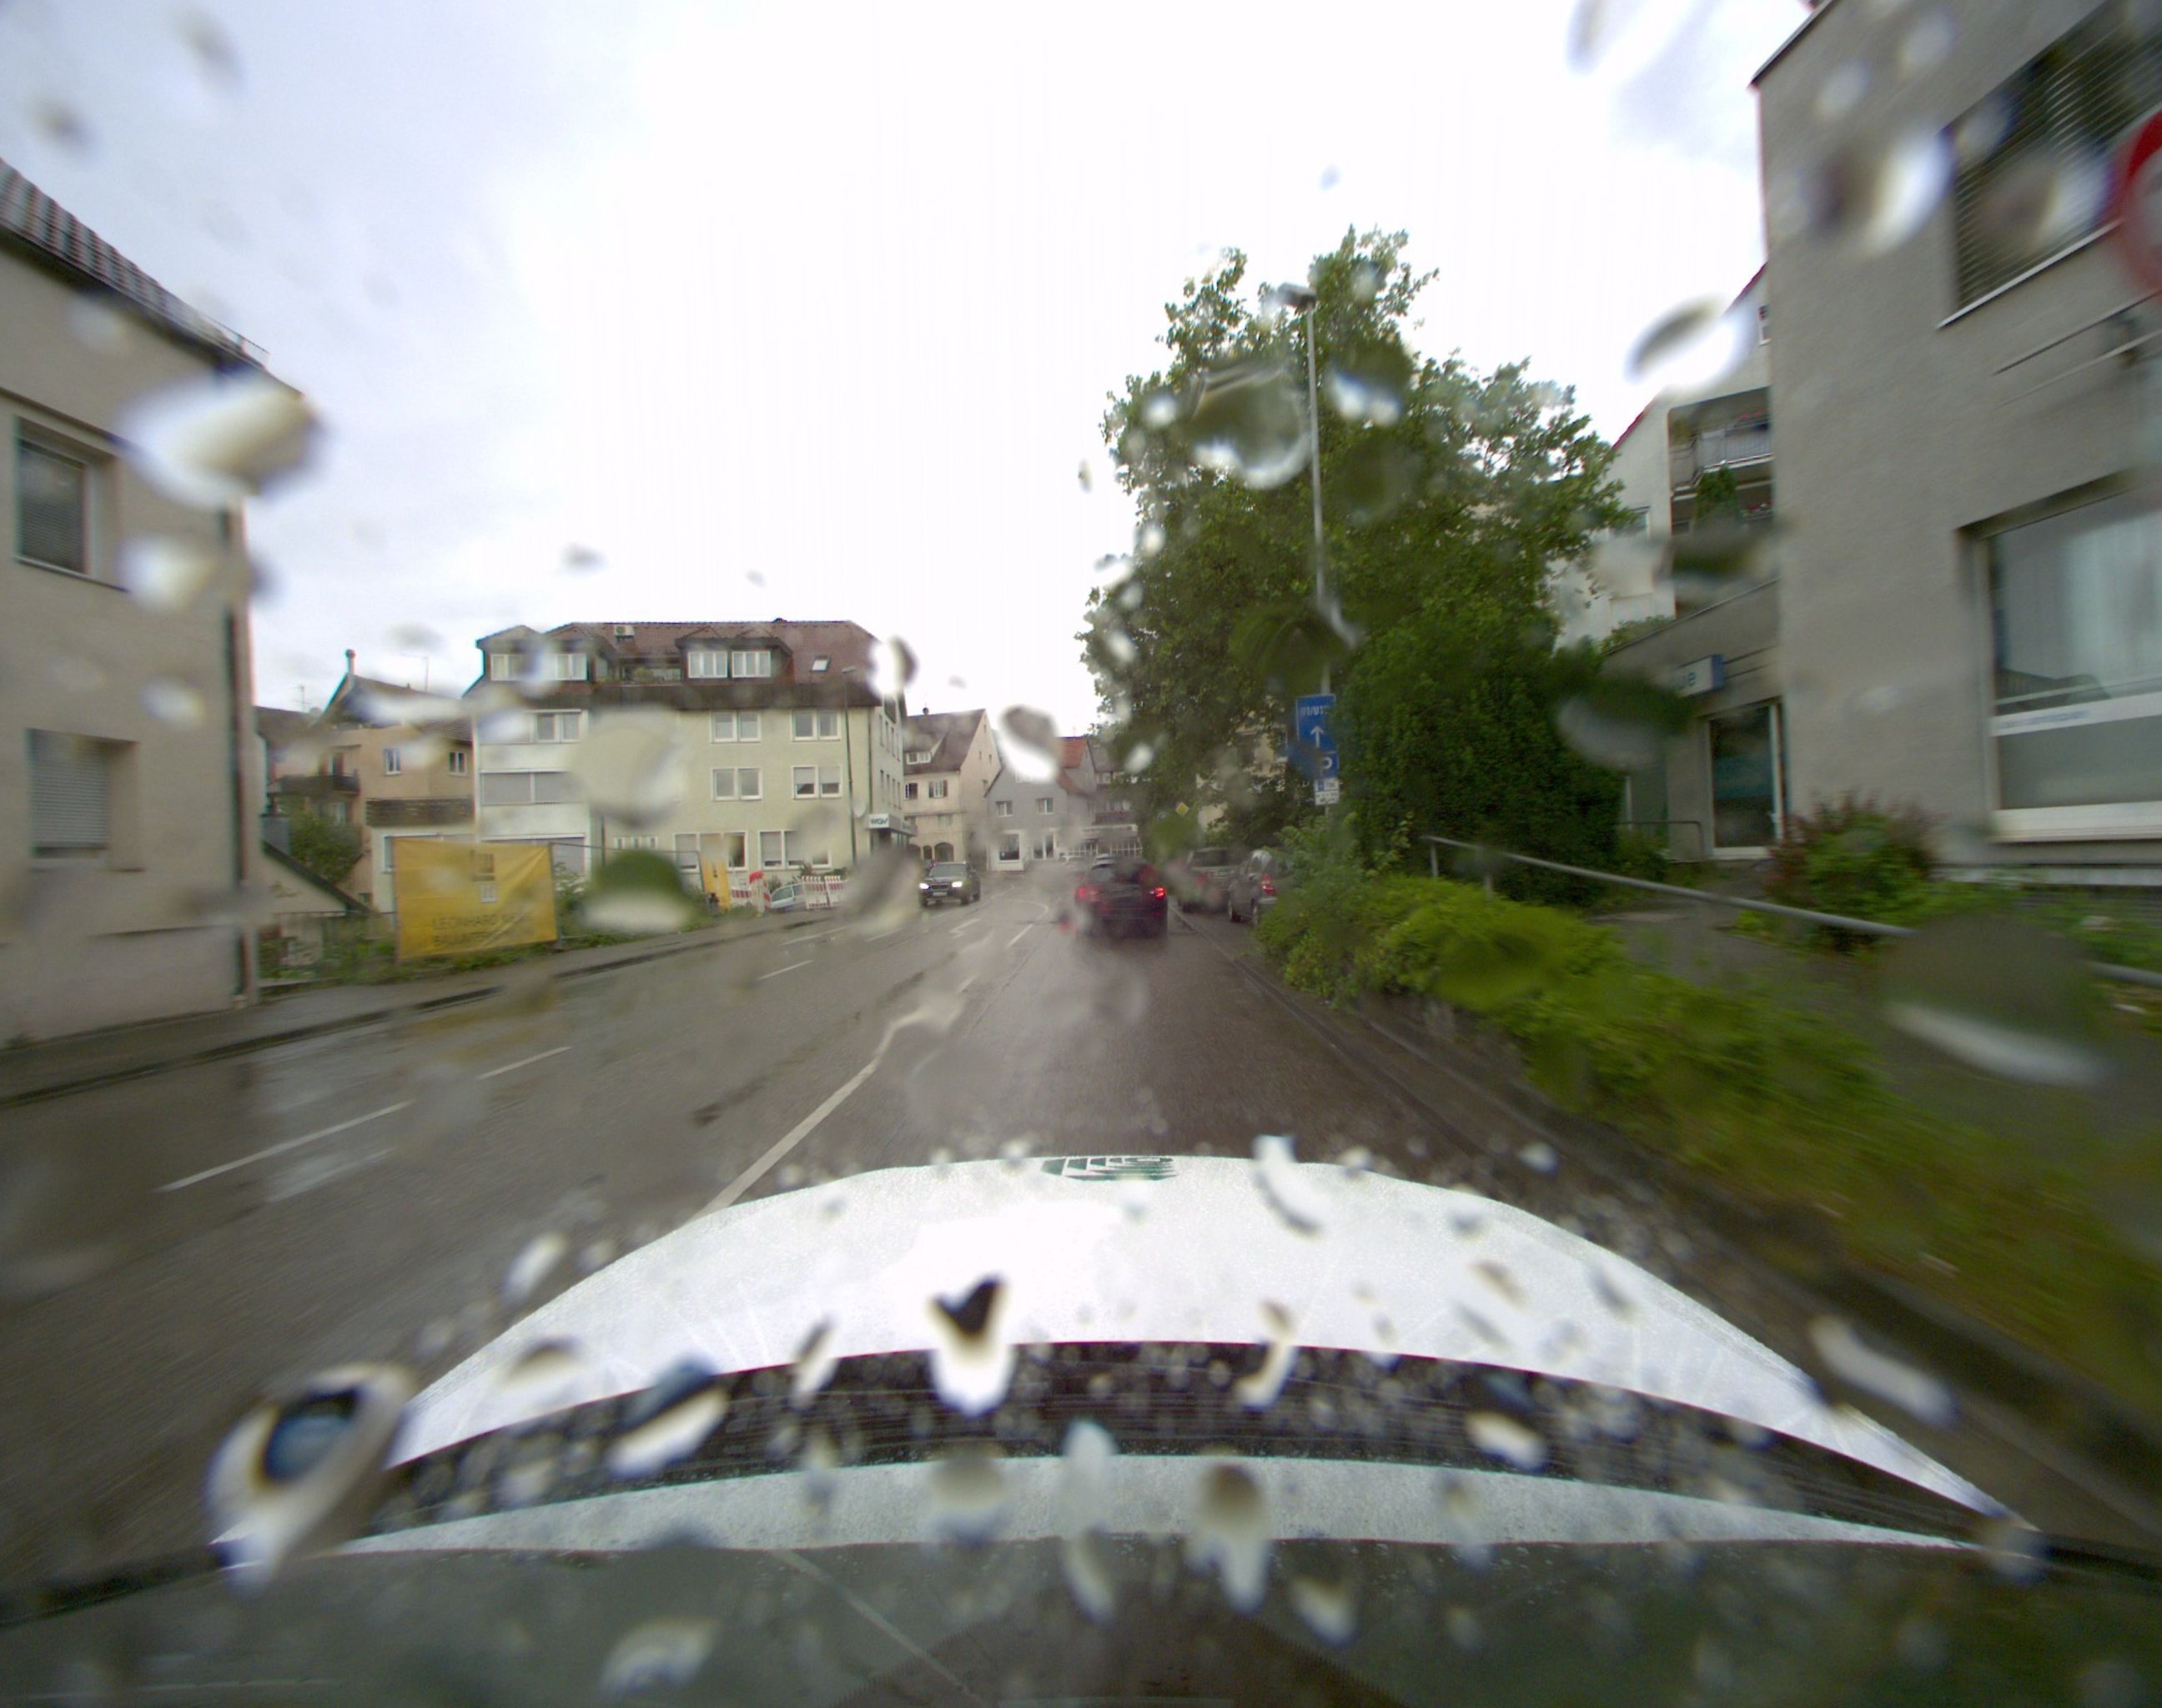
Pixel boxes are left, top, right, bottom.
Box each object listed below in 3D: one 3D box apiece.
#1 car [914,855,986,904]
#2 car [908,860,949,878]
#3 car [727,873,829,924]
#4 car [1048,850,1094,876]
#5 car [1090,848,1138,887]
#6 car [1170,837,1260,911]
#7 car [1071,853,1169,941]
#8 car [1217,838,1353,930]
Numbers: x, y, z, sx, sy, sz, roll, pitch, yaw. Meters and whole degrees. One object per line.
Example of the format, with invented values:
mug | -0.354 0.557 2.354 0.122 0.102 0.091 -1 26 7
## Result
car | -4.816 0.894 30.461 1.809 1.571 4.277 -3 0 1
car | -12.953 1.238 69.131 1.532 1.361 3.721 -3 2 -44
car | -12.464 1.808 33.701 3.498 1.389 1.647 -10 3 -8
car | -0.698 0.535 52.422 1.790 1.465 4.139 -3 2 -18
car | 1.581 0.568 37.548 1.779 1.517 4.250 -3 1 7
car | 3.639 0.482 22.964 1.922 1.780 4.738 -3 0 3
car | 0.790 0.776 16.895 1.725 1.450 4.244 -2 1 2
car | 4.006 0.528 16.649 1.704 1.572 3.913 -3 0 -1
